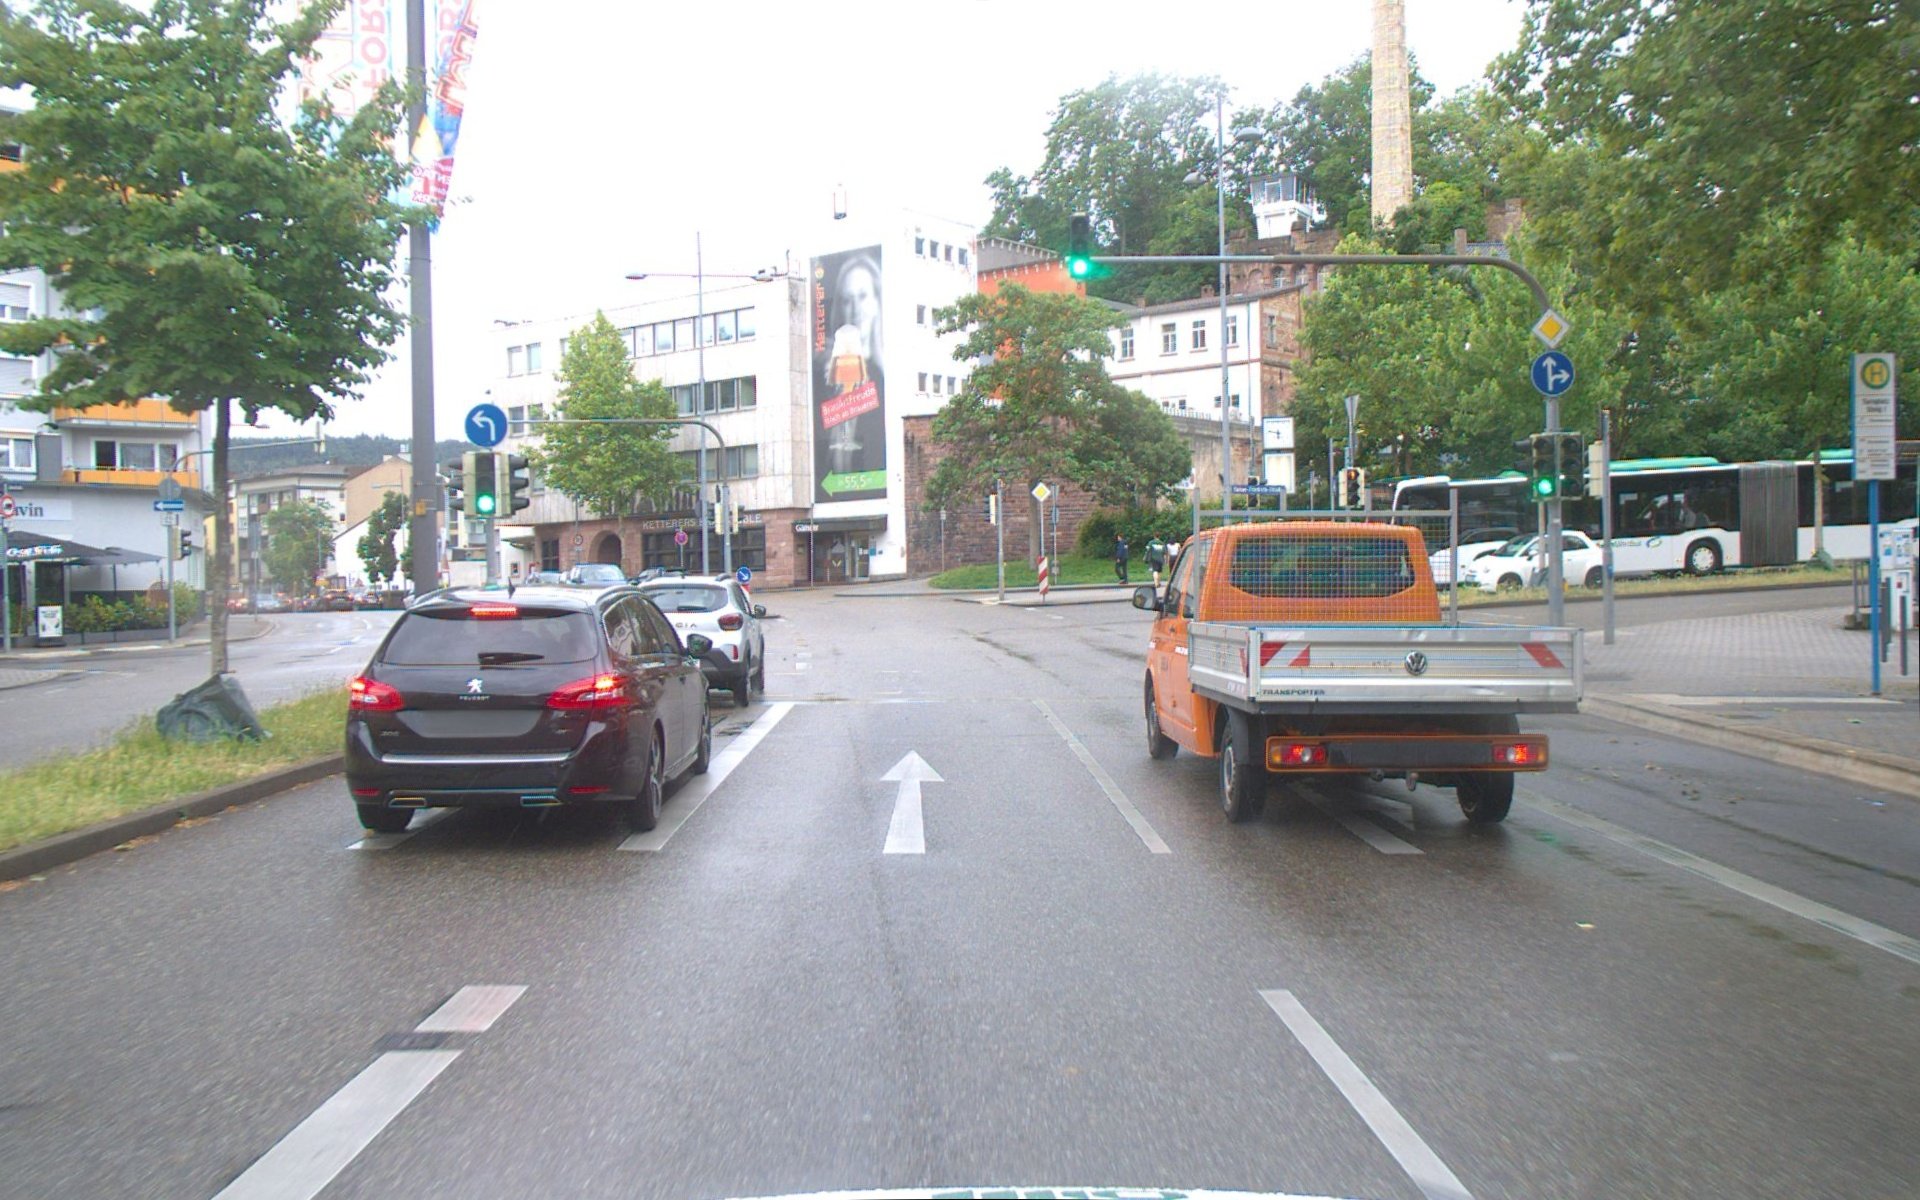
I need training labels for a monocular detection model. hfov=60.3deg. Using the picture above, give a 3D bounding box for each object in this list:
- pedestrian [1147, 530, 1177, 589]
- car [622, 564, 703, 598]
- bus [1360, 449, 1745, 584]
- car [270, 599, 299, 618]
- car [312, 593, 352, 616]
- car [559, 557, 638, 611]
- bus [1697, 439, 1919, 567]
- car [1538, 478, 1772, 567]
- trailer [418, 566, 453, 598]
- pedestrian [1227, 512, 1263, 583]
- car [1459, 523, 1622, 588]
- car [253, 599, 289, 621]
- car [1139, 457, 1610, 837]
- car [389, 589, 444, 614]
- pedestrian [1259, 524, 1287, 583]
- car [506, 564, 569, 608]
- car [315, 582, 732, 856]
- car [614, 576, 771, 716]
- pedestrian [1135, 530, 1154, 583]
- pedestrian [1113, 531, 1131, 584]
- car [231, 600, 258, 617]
[{"bbox_3d":[6.414,-1.291,52.540,0.861,1.863,0.729,0,0,0],"label":"pedestrian"},{"bbox_3d":[-12.970,-0.804,71.901,1.775,1.427,4.576,-1,0,-35],"label":"car"},{"bbox_3d":[15.848,-2.261,44.579,9.434,3.272,2.705,-2,2,-2],"label":"bus"},{"bbox_3d":[-55.594,0.687,136.097,1.648,1.420,3.827,-2,2,-30],"label":"car"},{"bbox_3d":[-42.929,0.321,112.978,1.651,1.420,3.820,-2,2,-35],"label":"car"},{"bbox_3d":[-12.102,-0.554,55.249,1.733,1.642,4.180,-3,2,-24],"label":"car"},{"bbox_3d":[24.752,-2.656,44.888,8.359,3.235,2.688,-2,2,-1],"label":"bus"},{"bbox_3d":[20.822,-2.302,49.866,6.187,2.273,2.258,-3,1,15],"label":"car"},{"bbox_3d":[-49.484,-1.681,155.920,2.104,2.763,5.341,-4,2,-28],"label":"trailer"},{"bbox_3d":[8.457,-1.566,49.067,0.771,2.048,0.587,-2,3,34],"label":"pedestrian"},{"bbox_3d":[14.405,-1.127,41.137,3.487,1.476,1.589,-2,3,-4],"label":"car"},{"bbox_3d":[-49.551,0.718,118.893,1.716,1.465,4.365,-3,1,-31],"label":"car"},{"bbox_3d":[2.644,0.249,12.111,2.058,2.126,5.541,0,0,0],"label":"car"},{"bbox_3d":[-33.607,0.084,102.239,3.800,1.420,1.660,1,3,43],"label":"car"},{"bbox_3d":[9.295,-1.379,49.163,0.551,1.735,0.523,-4,3,-31],"label":"pedestrian"},{"bbox_3d":[-16.888,-0.569,66.005,1.733,1.642,4.180,-3,2,-24],"label":"car"},{"bbox_3d":[-2.647,0.625,11.104,1.763,1.459,4.395,0,0,-2],"label":"car"},{"bbox_3d":[-3.177,0.481,20.216,1.506,1.487,3.627,-1,1,-4],"label":"car"},{"bbox_3d":[5.853,-1.373,52.468,0.554,1.644,0.691,0,-1,2],"label":"pedestrian"},{"bbox_3d":[5.562,-1.462,56.821,0.584,1.812,0.657,0,-1,8],"label":"pedestrian"},{"bbox_3d":[-67.868,0.762,156.817,1.932,1.420,3.827,-2,2,-30],"label":"car"}]
